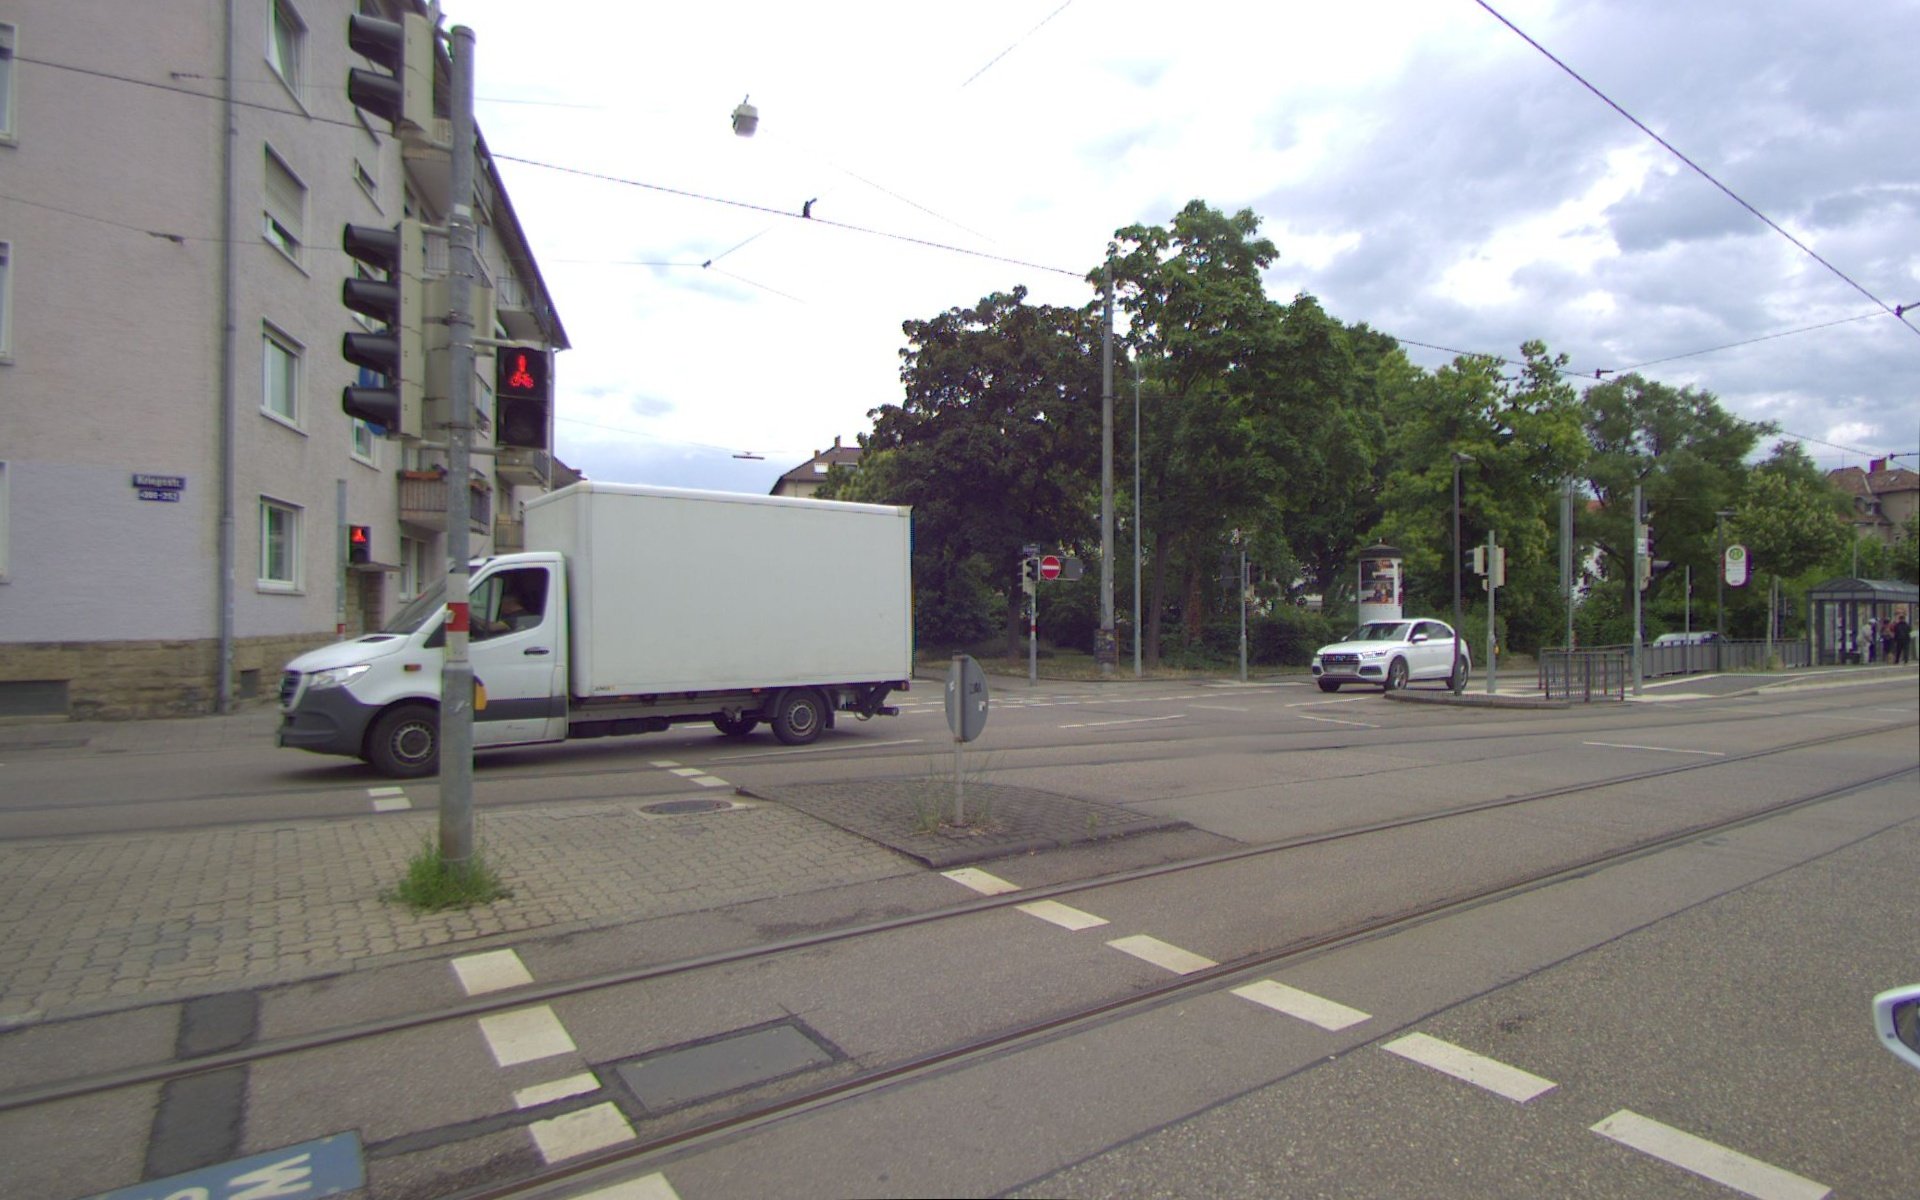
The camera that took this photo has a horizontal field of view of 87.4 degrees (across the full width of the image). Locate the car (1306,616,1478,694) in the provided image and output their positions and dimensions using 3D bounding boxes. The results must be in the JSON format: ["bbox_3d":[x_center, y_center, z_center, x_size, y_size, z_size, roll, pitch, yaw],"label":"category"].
[{"bbox_3d":[10.098,1.219,23.344,4.496,1.661,1.757,2,-1,-38],"label":"car"}]

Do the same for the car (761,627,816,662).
[{"bbox_3d":[-7.352,1.852,42.774,1.967,1.372,4.025,0,-1,-15],"label":"car"}]

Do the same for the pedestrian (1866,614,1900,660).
[{"bbox_3d":[34.285,1.373,37.312,1.016,1.682,0.762,1,-1,-38],"label":"pedestrian"}]

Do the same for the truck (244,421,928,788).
[{"bbox_3d":[-3.933,0.125,11.883,7.268,3.199,2.167,2,-1,-39],"label":"truck"}]

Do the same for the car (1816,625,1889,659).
[{"bbox_3d":[41.463,1.936,46.665,3.849,1.513,1.758,1,-1,-36],"label":"car"}]

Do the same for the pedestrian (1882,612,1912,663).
[{"bbox_3d":[32.439,1.280,34.770,0.694,1.738,0.693,1,-2,-44],"label":"pedestrian"}]

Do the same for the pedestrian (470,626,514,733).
[{"bbox_3d":[-7.097,1.187,15.260,0.525,1.578,0.568,0,-1,-18],"label":"pedestrian"}]

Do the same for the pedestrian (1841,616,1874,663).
[{"bbox_3d":[32.294,1.418,36.130,0.625,1.645,0.676,1,-1,-25],"label":"pedestrian"}]
